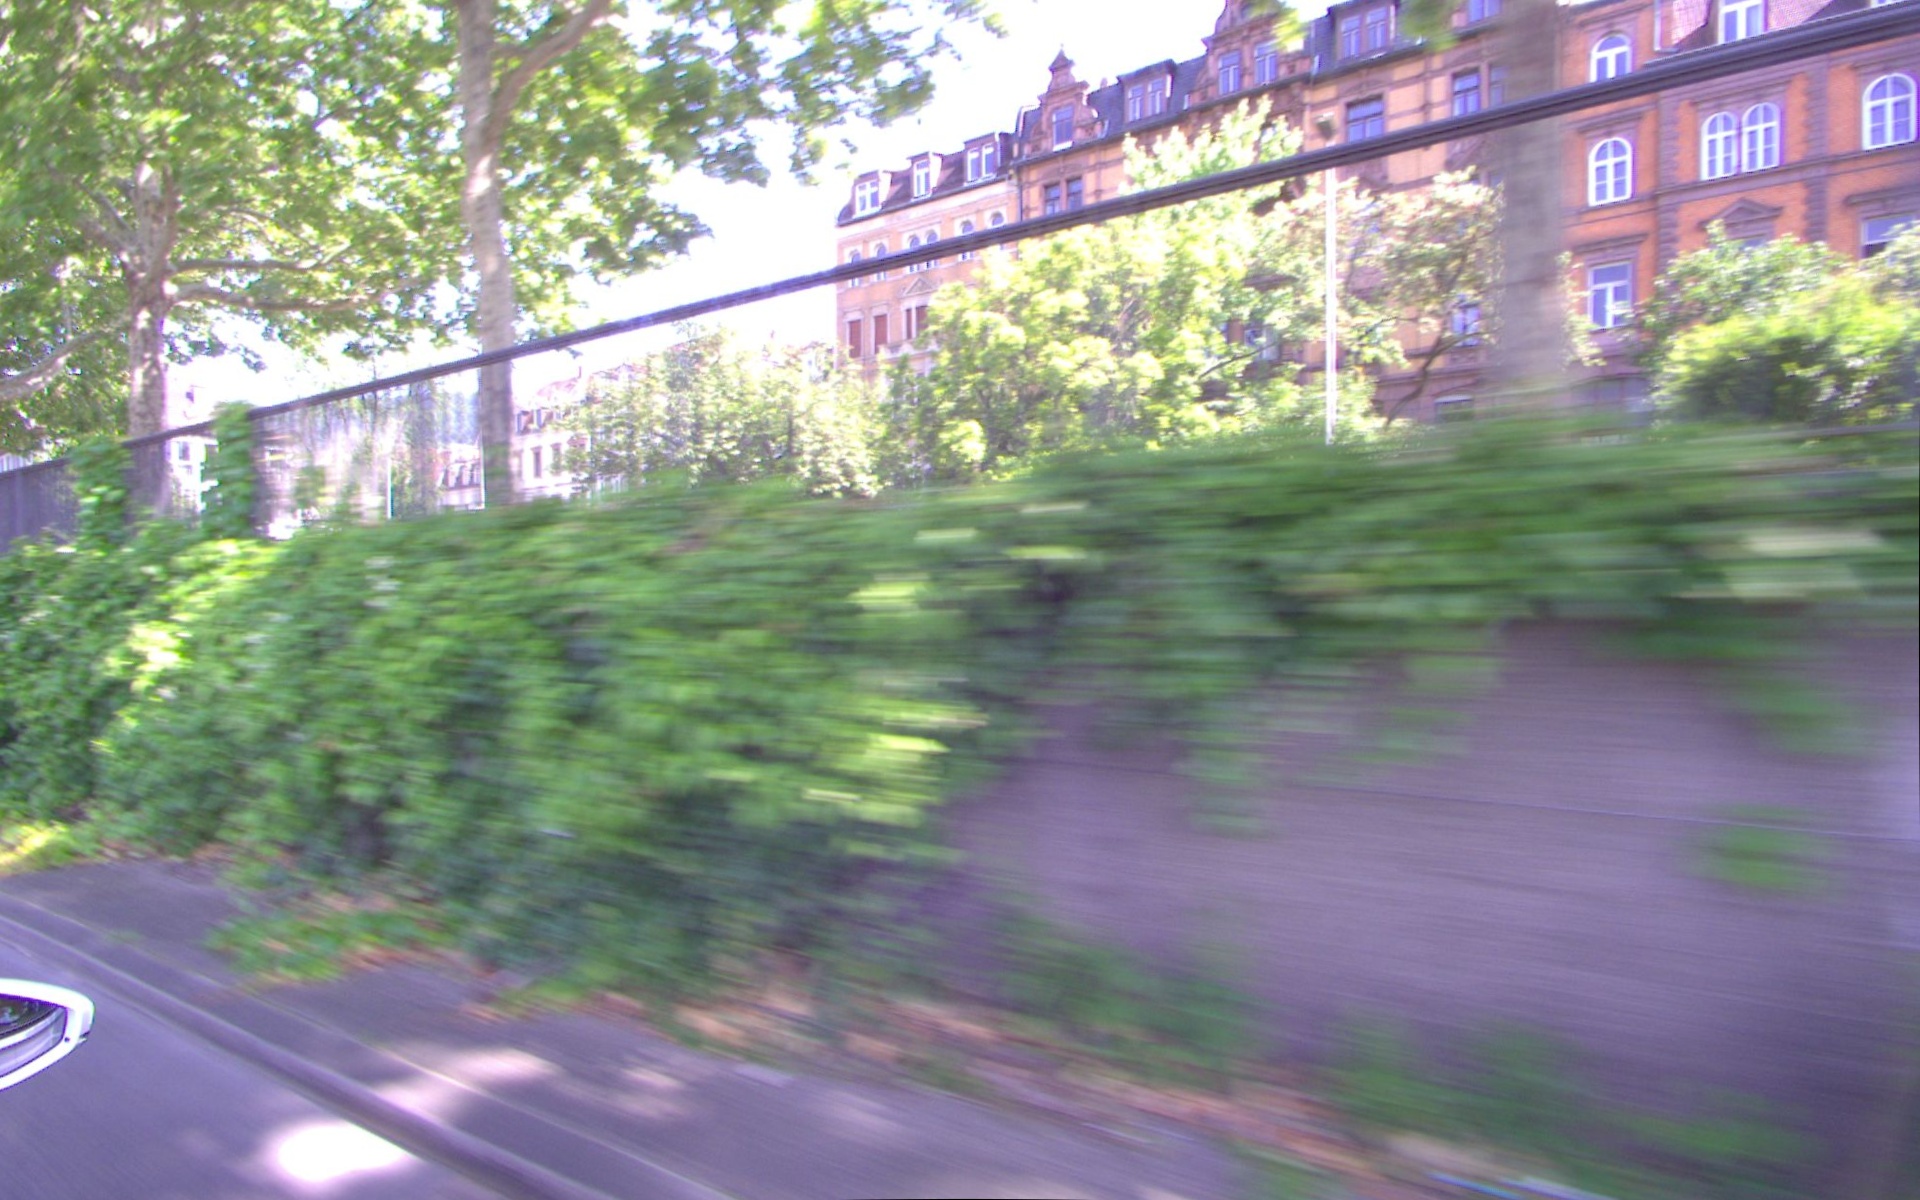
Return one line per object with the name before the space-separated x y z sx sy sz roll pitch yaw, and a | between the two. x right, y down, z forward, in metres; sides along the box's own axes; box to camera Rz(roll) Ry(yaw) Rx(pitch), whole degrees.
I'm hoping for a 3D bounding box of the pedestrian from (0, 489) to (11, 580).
pedestrian | -15.092 -0.990 15.273 0.782 1.385 0.642 0 3 30
